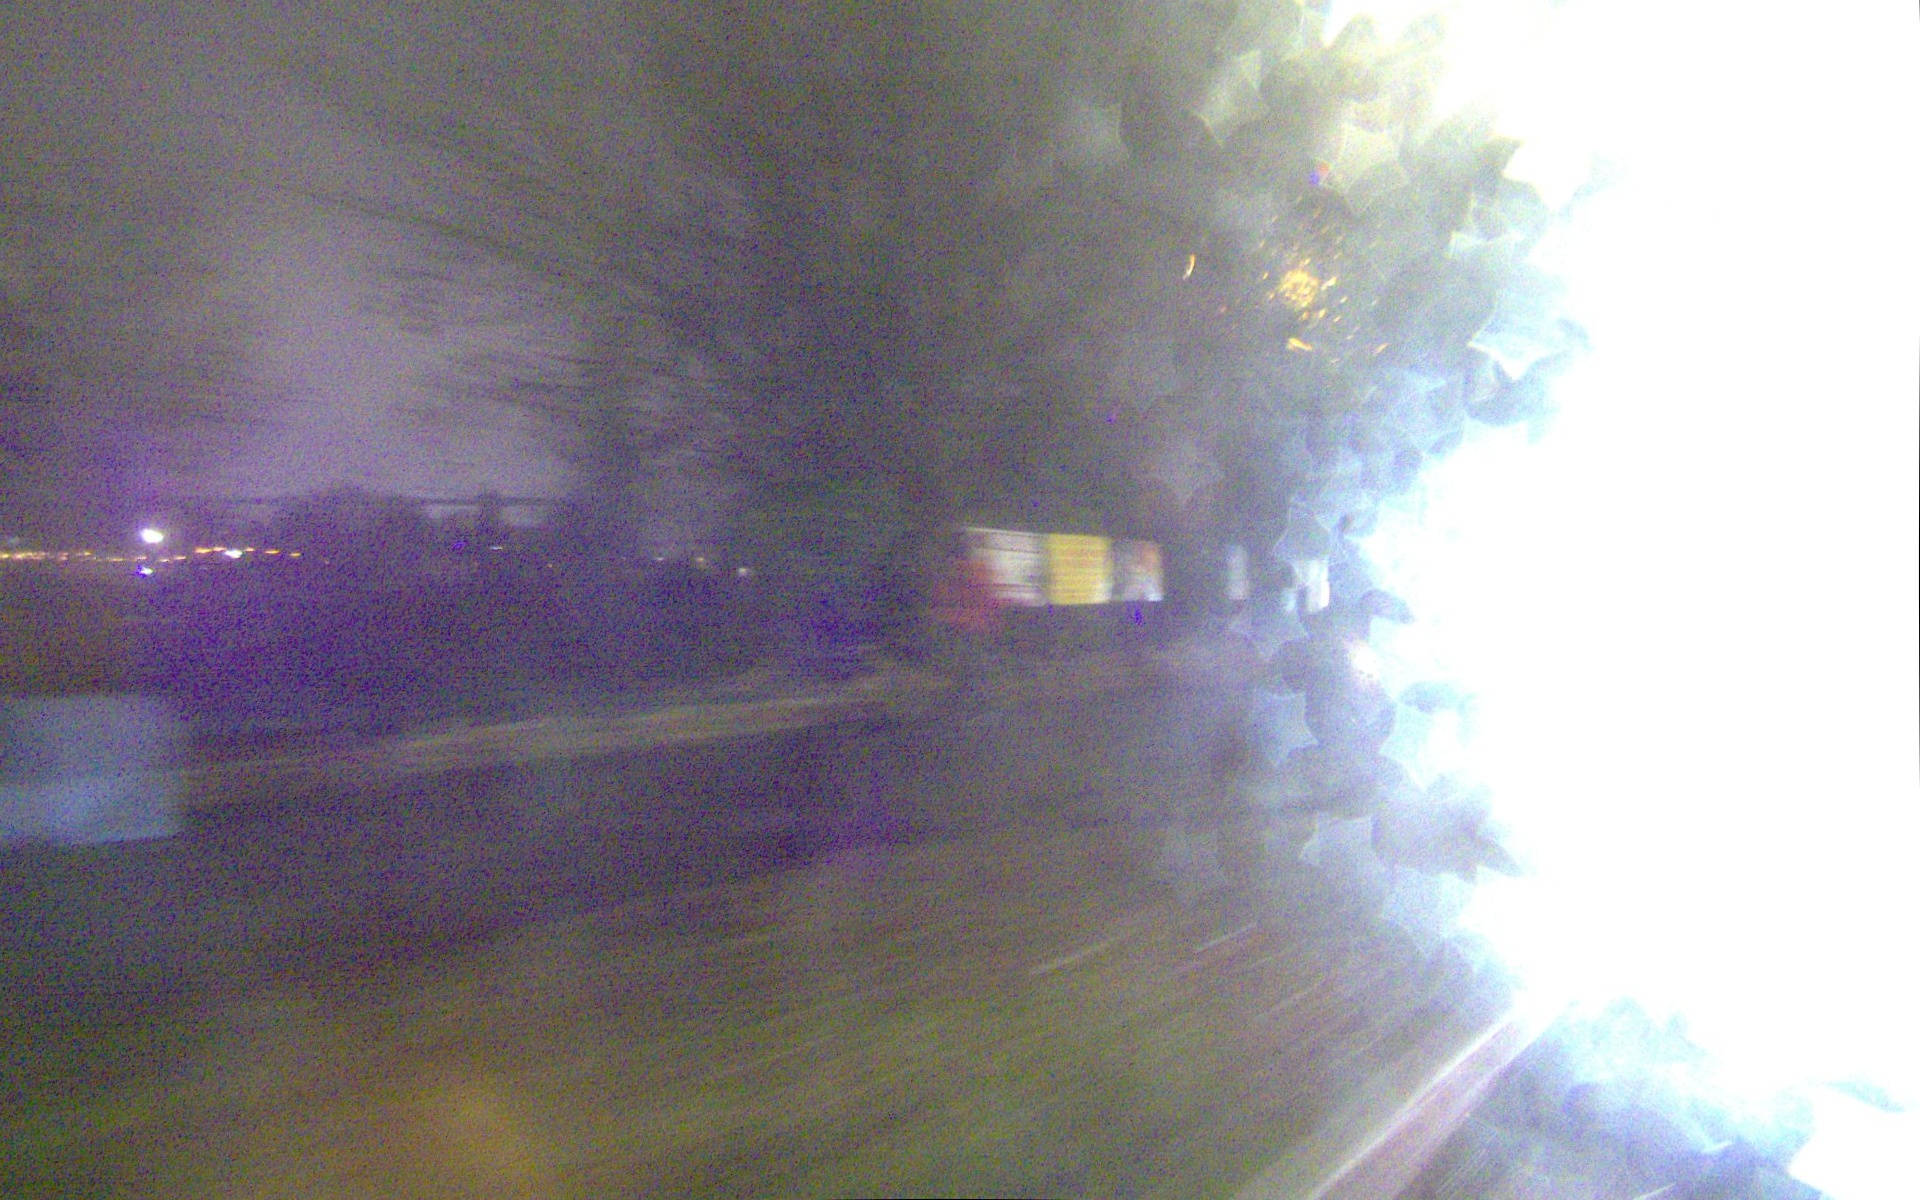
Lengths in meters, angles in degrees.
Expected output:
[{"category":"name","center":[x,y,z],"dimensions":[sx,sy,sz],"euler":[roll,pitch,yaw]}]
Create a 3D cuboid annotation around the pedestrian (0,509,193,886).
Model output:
[{"category":"pedestrian","center":[-3.945,0.388,4.447],"dimensions":[0.726,1.504,0.822],"euler":[0,0,45]}]
